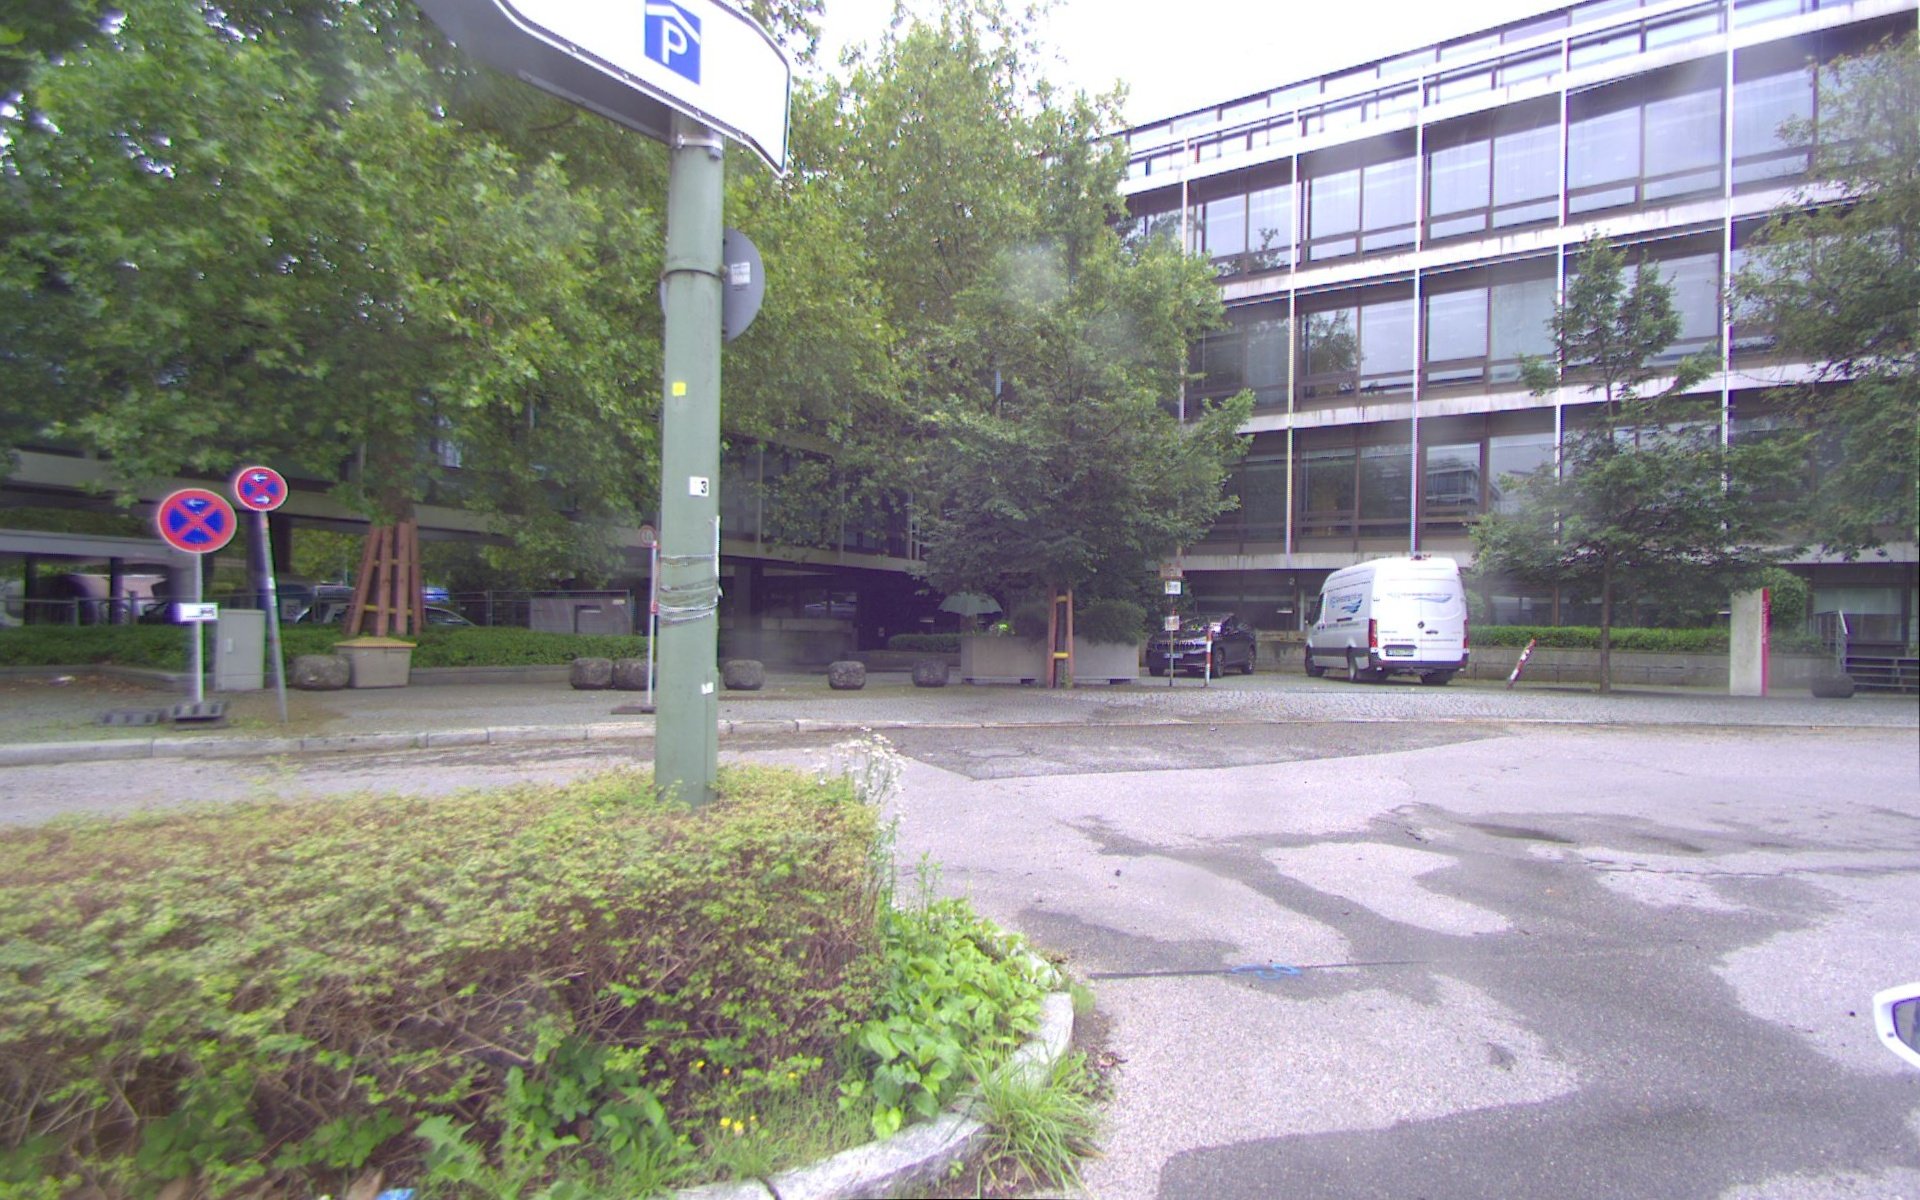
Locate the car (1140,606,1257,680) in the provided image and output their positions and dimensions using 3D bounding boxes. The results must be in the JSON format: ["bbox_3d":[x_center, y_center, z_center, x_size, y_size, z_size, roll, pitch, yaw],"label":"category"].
[{"bbox_3d":[6.312,1.087,26.292,1.912,1.744,4.232,0,-1,29],"label":"car"}]

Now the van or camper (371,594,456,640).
[{"bbox_3d":[-32.311,0.996,59.408,4.567,2.630,2.275,0,-1,29],"label":"van or camper"}]

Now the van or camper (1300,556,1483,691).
[{"bbox_3d":[9.635,0.616,23.129,2.119,2.614,6.545,1,-3,7],"label":"van or camper"}]

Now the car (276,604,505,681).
[{"bbox_3d":[-12.174,0.877,21.681,1.881,1.493,3.849,0,-1,34],"label":"car"}]

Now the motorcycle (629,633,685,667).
[{"bbox_3d":[-9.610,1.582,31.862,1.665,1.069,0.670,1,-1,-16],"label":"motorcycle"}]

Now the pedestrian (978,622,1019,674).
[{"bbox_3d":[1.001,1.249,26.269,0.913,1.295,0.540,1,-1,35],"label":"pedestrian"}]
